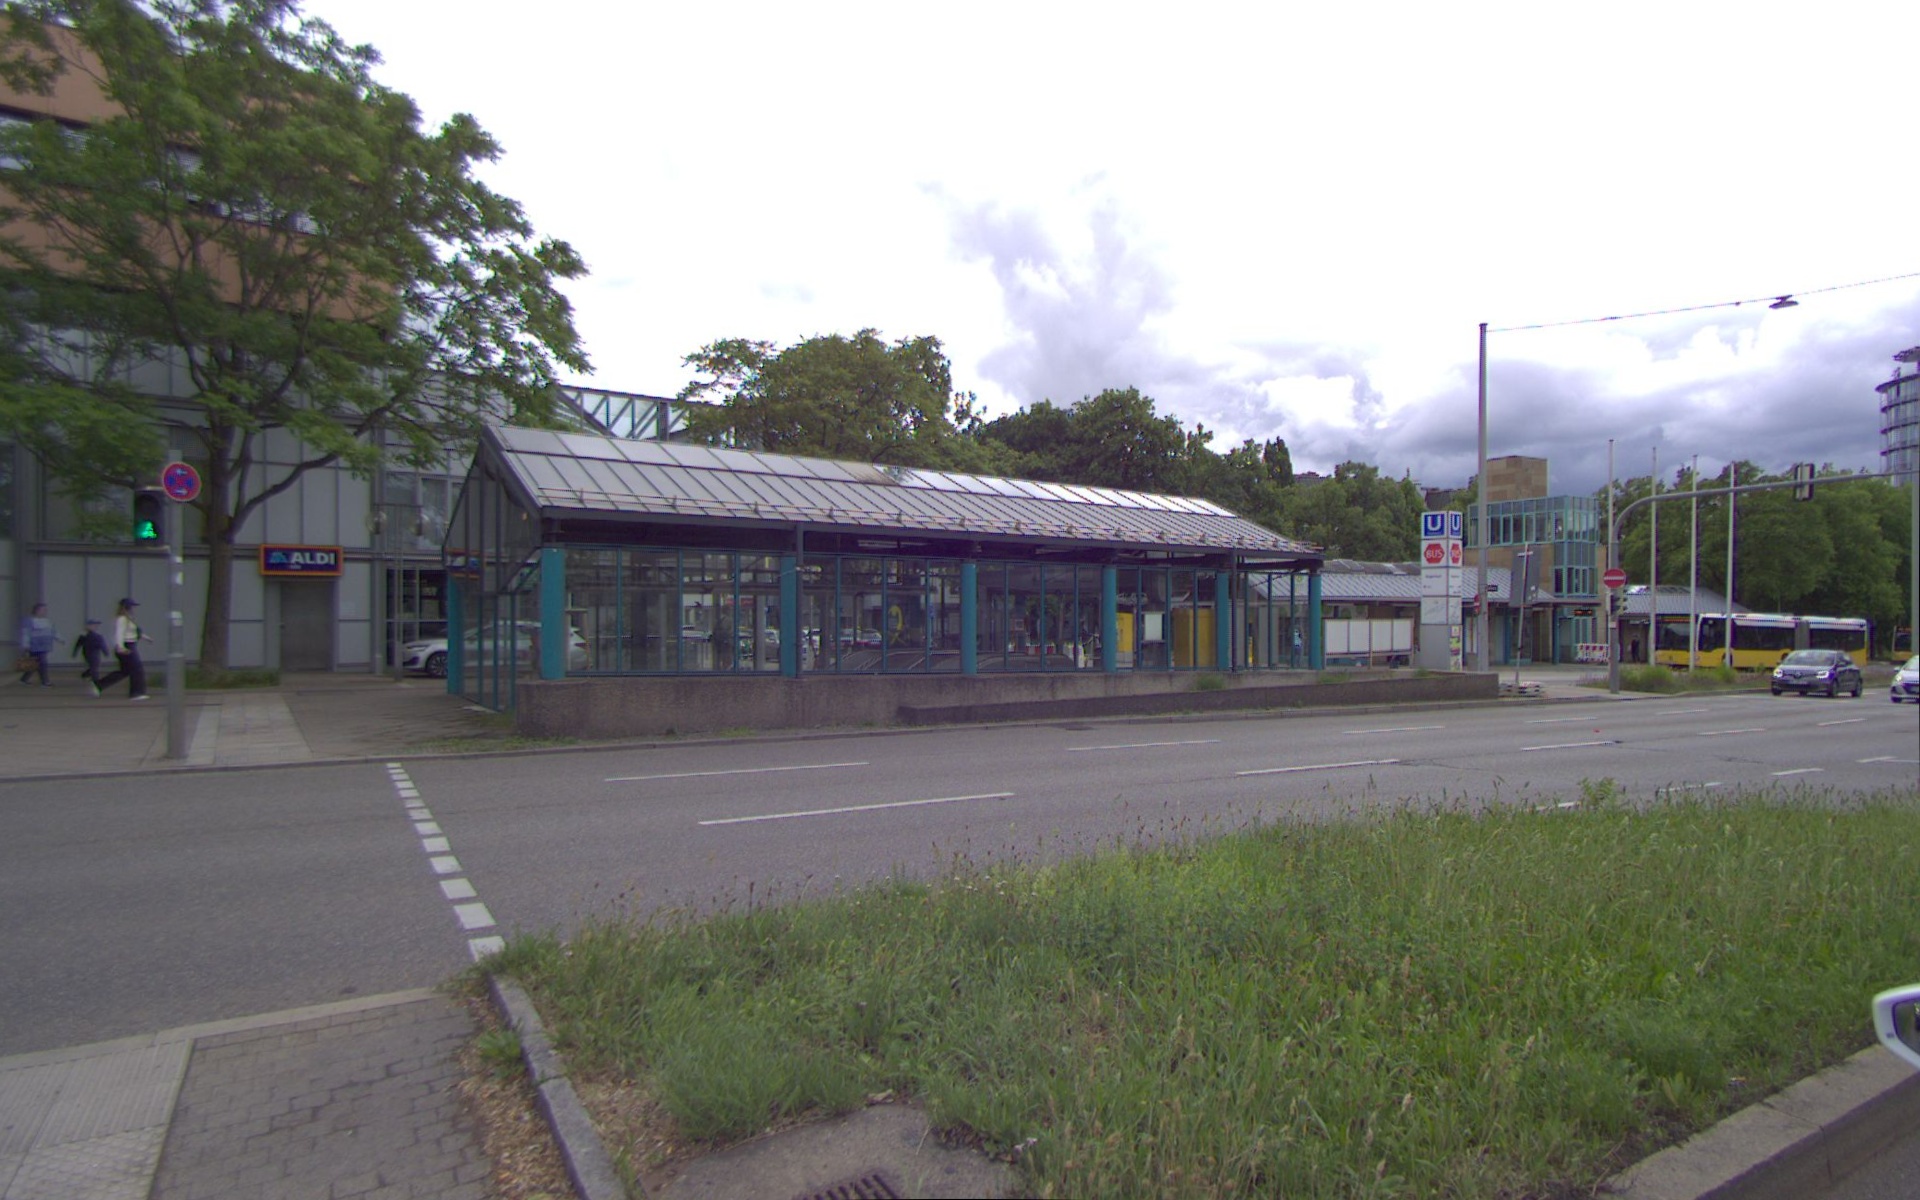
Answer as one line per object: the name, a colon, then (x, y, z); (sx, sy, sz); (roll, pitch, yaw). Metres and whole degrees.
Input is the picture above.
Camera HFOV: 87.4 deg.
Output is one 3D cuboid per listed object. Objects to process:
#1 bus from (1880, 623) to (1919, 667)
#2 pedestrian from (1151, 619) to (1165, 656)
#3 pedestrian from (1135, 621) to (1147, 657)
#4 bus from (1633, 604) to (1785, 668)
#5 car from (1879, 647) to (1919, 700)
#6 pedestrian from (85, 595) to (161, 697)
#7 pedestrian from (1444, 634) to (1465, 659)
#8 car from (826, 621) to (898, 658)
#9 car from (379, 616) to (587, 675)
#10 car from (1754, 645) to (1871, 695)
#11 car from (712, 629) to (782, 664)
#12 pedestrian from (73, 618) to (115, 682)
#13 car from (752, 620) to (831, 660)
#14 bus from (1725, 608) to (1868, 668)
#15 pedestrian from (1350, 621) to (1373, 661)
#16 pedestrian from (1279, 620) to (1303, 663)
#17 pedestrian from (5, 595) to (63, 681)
bus: (75.194, 3.490, 77.946); (10.623, 3.205, 3.065); (2, 0, -33)
pedestrian: (8.663, 1.628, 43.877); (0.520, 1.568, 0.754); (1, -1, 14)
pedestrian: (8.027, 1.738, 44.577); (0.475, 1.568, 0.384); (1, -1, 14)
bus: (40.231, 1.944, 53.851); (9.319, 3.174, 2.765); (2, 1, -28)
car: (29.943, 2.238, 30.836); (3.750, 1.485, 1.735); (1, -1, -34)
pedestrian: (-14.328, 0.780, 17.225); (0.817, 1.702, 0.774); (2, -1, -30)
pedestrian: (22.913, 2.148, 46.576); (0.650, 1.136, 0.617); (2, -1, -30)
car: (-5.170, 2.056, 52.542); (1.981, 1.706, 3.958); (2, 0, -36)
car: (-12.201, 1.175, 25.807); (4.665, 1.418, 1.681); (2, -2, -30)
car: (28.693, 2.333, 33.797); (3.953, 1.528, 1.807); (2, -2, -30)
car: (-10.703, 2.302, 50.296); (1.981, 1.617, 3.960); (2, -1, -36)
pedestrian: (-16.712, 0.959, 19.393); (0.508, 1.208, 0.380); (2, -1, -30)
car: (-7.620, 1.777, 45.142); (1.981, 1.617, 3.960); (2, -1, -36)
bus: (48.435, 2.219, 58.086); (9.177, 3.174, 2.799); (2, 1, -26)
pedestrian: (17.061, 1.759, 42.723); (0.650, 1.671, 0.617); (2, -1, -30)
pedestrian: (13.162, 1.644, 39.924); (0.650, 1.671, 0.617); (2, -1, -30)
pedestrian: (-17.340, 0.714, 18.821); (0.631, 1.567, 0.682); (2, -1, -32)
